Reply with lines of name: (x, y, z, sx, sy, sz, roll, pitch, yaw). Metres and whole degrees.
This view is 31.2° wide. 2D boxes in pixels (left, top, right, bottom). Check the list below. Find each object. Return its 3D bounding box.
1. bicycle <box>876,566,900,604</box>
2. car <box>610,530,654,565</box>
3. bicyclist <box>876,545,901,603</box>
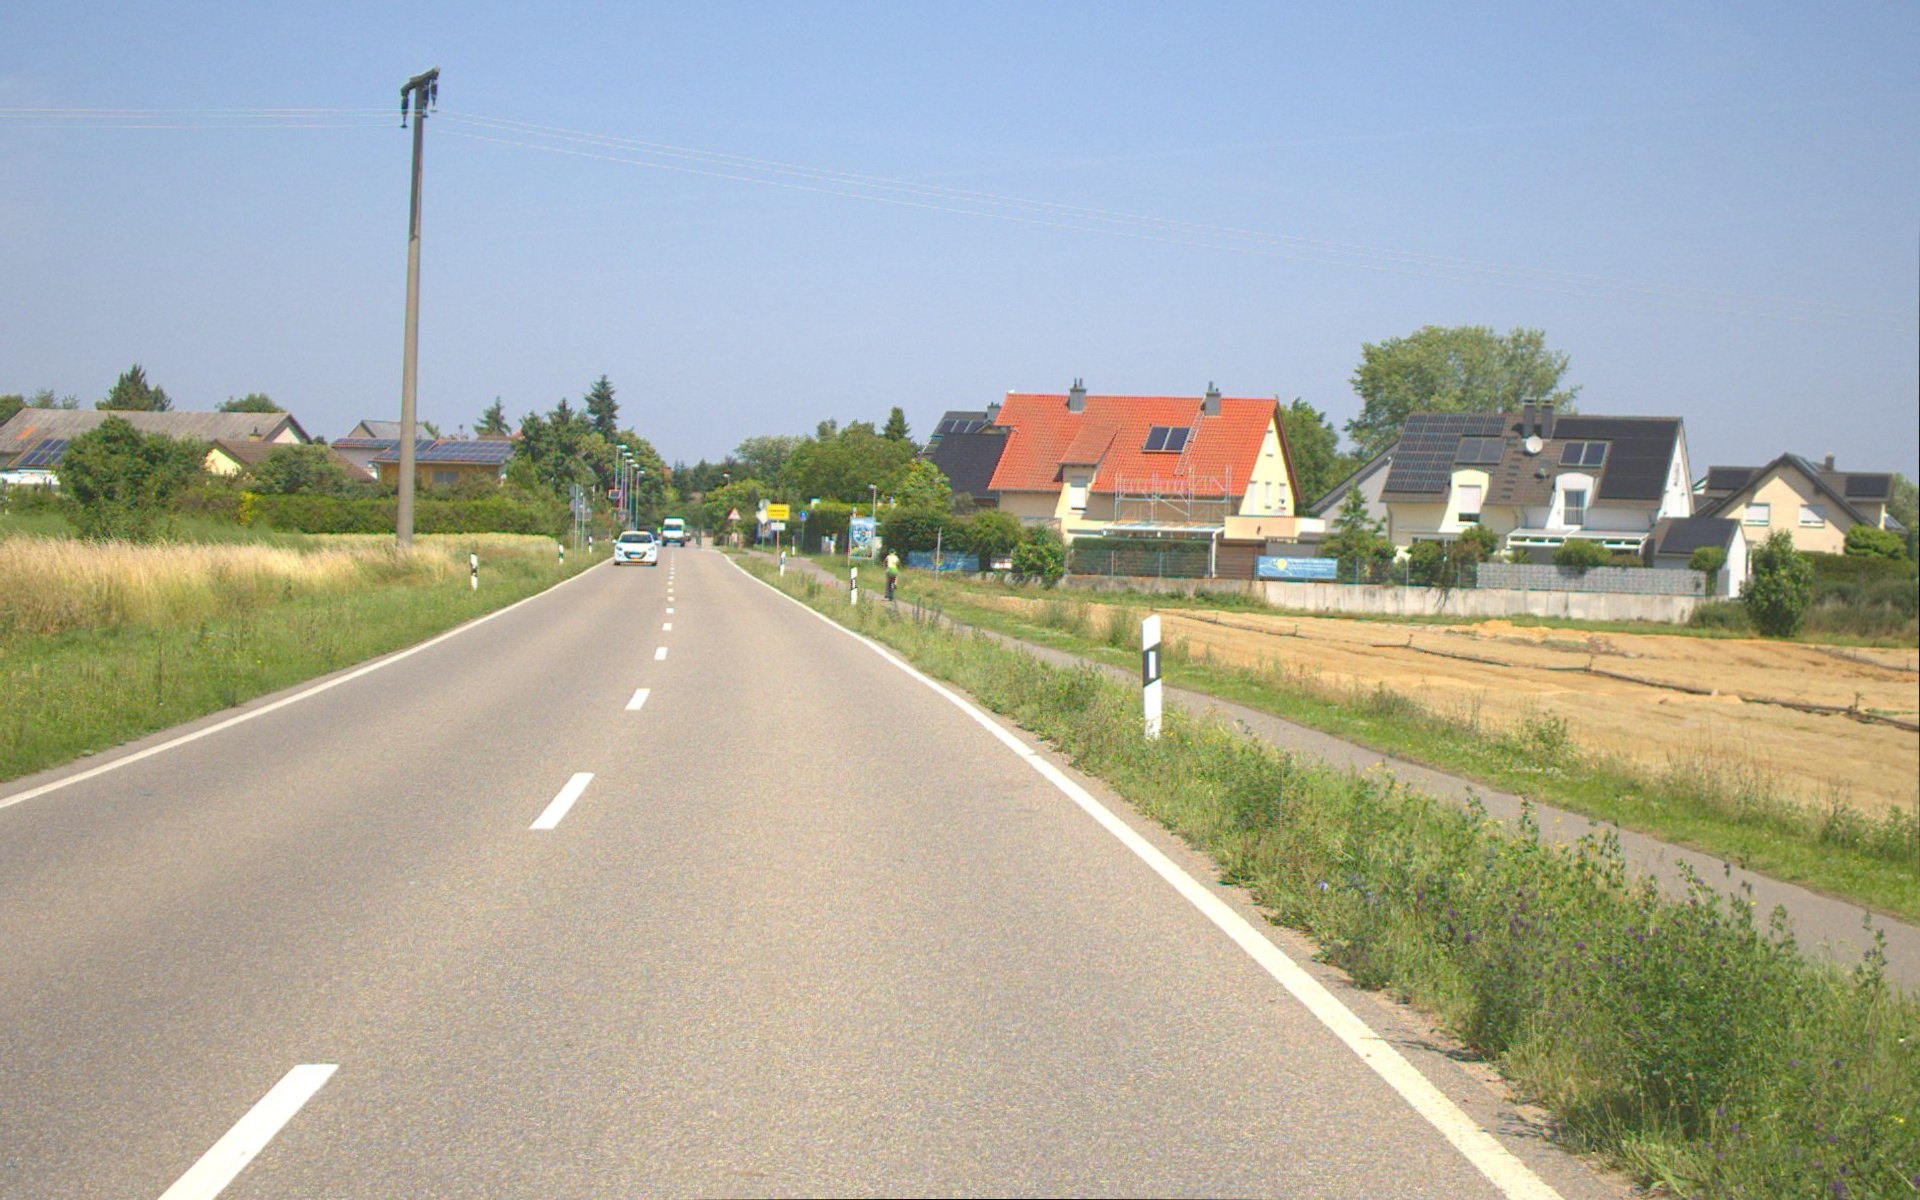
bicycle: (-2.443, -0.523, 116.316, 0.610, 1.154, 2.275, 4, 2, -5)
car: (-13.926, -2.239, 146.103, 1.791, 1.404, 4.186, 1, 1, -5)
bicyclist: (-2.416, -0.880, 116.274, 0.645, 1.883, 0.861, 4, 2, -5)
